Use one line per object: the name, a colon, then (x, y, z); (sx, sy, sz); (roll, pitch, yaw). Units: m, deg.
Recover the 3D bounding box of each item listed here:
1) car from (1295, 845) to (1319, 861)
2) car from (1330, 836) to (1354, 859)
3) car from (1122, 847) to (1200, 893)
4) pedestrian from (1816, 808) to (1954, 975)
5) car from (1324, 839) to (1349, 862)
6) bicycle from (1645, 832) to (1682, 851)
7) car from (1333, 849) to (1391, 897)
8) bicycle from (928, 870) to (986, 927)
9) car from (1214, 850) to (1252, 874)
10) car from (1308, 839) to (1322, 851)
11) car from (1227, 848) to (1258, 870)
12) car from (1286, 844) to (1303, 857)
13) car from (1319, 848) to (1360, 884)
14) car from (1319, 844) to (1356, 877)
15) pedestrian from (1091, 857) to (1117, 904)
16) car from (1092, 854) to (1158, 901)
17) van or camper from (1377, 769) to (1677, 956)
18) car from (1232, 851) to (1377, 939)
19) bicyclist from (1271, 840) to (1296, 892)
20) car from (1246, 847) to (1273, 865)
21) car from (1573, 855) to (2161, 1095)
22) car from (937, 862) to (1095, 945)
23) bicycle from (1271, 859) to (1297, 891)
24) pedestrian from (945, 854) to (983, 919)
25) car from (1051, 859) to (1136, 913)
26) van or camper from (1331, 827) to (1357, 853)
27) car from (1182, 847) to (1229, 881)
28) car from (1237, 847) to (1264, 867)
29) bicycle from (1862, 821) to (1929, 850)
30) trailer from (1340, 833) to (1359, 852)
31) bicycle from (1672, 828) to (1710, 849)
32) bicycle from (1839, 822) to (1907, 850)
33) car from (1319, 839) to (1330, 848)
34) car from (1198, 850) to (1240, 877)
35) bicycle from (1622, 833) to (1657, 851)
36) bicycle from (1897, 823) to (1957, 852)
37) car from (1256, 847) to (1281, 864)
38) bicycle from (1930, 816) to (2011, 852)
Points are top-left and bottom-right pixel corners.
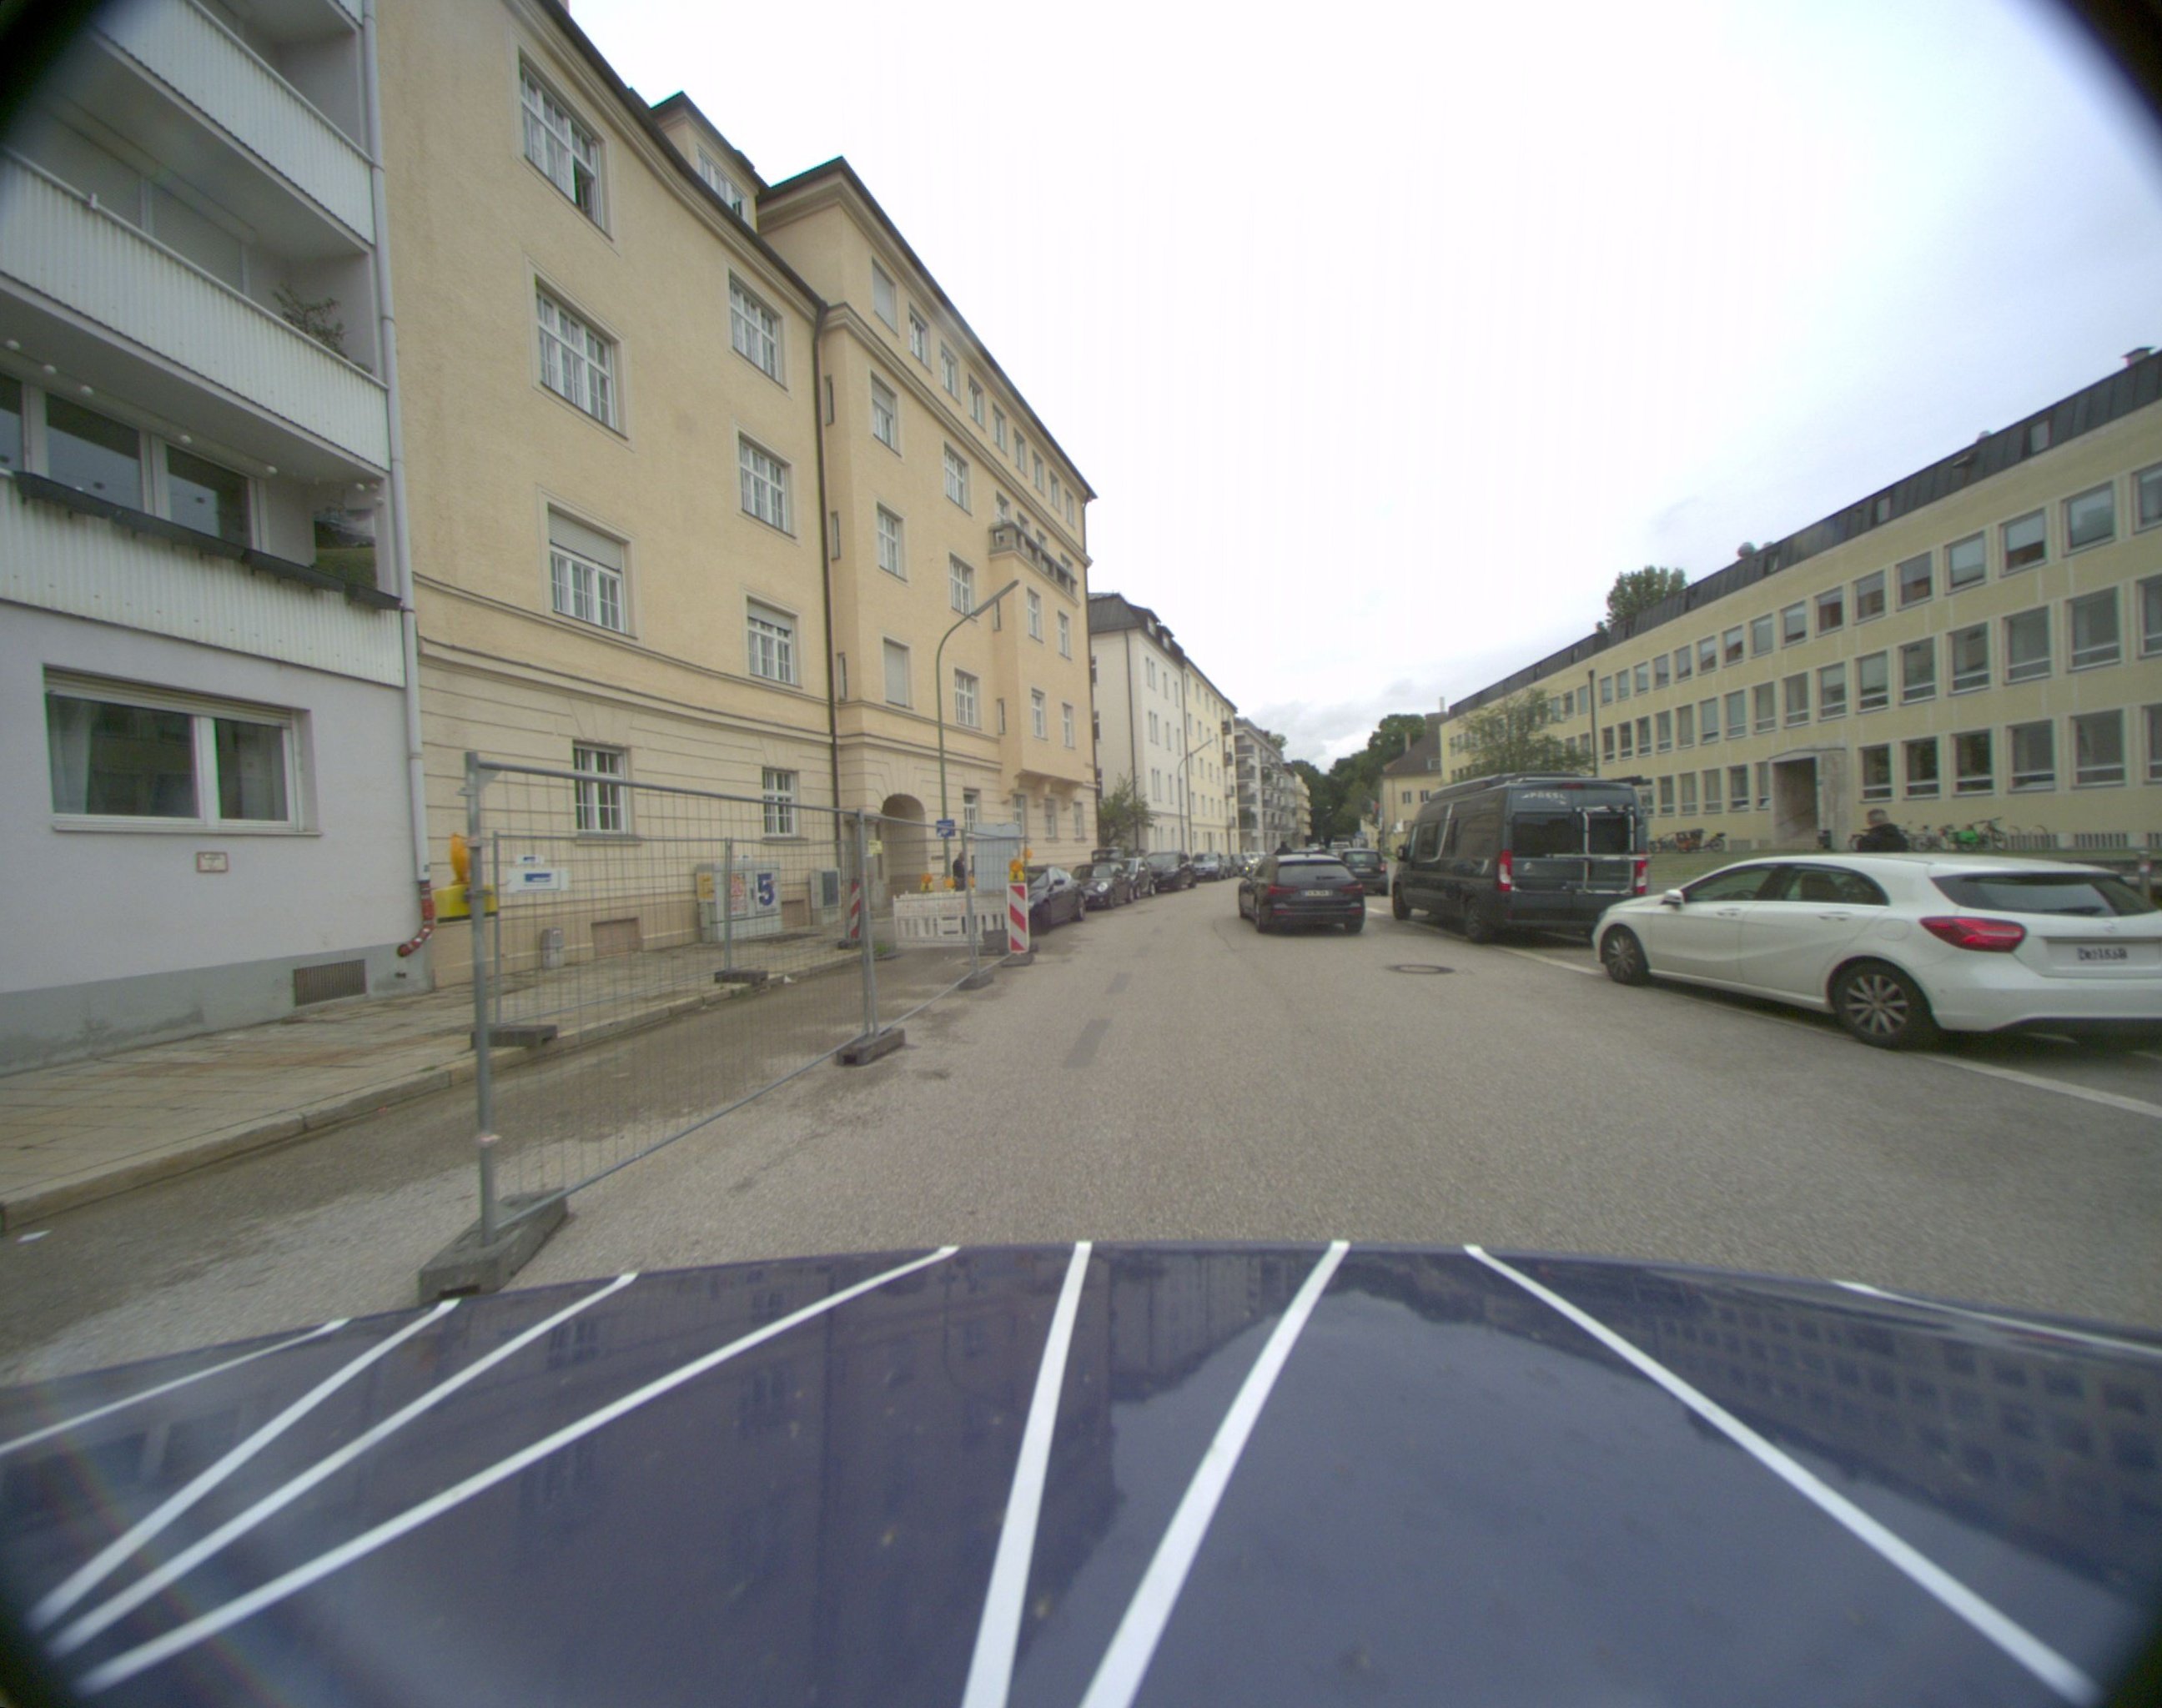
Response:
car: (23.327, -0.121, 78.429); (1.996, 1.521, 4.006); (-4, -1, 20)
car: (23.411, -0.618, 68.317); (1.917, 1.948, 4.968); (-1, 0, 18)
car: (3.655, 0.663, 33.617); (2.172, 1.728, 5.030); (-4, 0, 20)
pedestrian: (9.583, 0.428, 9.077); (0.845, 1.855, 0.713); (-4, 0, -8)
car: (19.749, -0.264, 58.580); (1.716, 1.680, 4.146); (-1, 1, 20)
bicycle: (32.604, -0.720, 42.552); (1.608, 0.939, 0.503); (-5, 0, 1)
car: (9.203, 0.588, 25.063); (1.521, 1.457, 2.890); (-1, 1, 15)
bicycle: (-3.028, 1.065, 18.744); (0.637, 1.251, 1.673); (-3, 0, 19)
car: (10.605, 0.531, 52.722); (1.878, 1.441, 4.684); (-4, 0, 19)
car: (41.081, -1.618, 133.208); (1.856, 2.019, 4.790); (-4, 0, 21)
car: (12.282, 0.353, 57.558); (1.726, 1.441, 4.193); (-4, 0, 18)
car: (27.626, -0.457, 98.218); (1.773, 1.467, 4.223); (-3, 0, 18)
car: (11.538, 0.519, 33.998); (1.633, 1.486, 3.608); (-1, 1, 18)
car: (12.789, 0.276, 38.014); (1.633, 1.486, 4.280); (-1, 1, 18)
pedestrian: (0.781, 0.888, 25.733); (0.629, 1.519, 0.578); (-4, 0, 19)
car: (1.696, 0.843, 28.529); (1.515, 1.545, 3.023); (-4, 0, 21)
van or camper: (7.353, 0.106, 13.574); (2.302, 2.566, 6.088); (-1, 1, 6)
car: (4.216, 0.690, 15.106); (1.924, 1.404, 4.705); (-1, 1, 6)
bicyclist: (7.090, 0.415, 26.648); (0.746, 1.761, 0.815); (0, 0, 6)
car: (15.722, 0.142, 66.760); (1.727, 1.421, 4.299); (-4, 0, 19)
car: (6.753, 0.759, 6.831); (1.998, 1.442, 4.215); (-1, 0, 1)
car: (-1.280, 1.035, 17.557); (1.911, 1.469, 4.952); (-4, 0, 16)
bicycle: (7.091, 0.716, 26.585); (0.587, 1.063, 1.937); (-1, 0, 6)
pedestrian: (-3.094, 0.840, 20.144); (0.618, 1.681, 0.920); (1, 2, 20)
car: (0.484, 0.961, 23.861); (1.633, 1.409, 3.684); (-4, 0, 17)
van or camper: (27.910, -1.483, 80.390); (2.295, 2.636, 5.569); (-1, 1, 22)
car: (7.104, 0.531, 43.093); (1.849, 1.653, 4.504); (-4, 0, 19)
car: (13.953, 0.232, 62.425); (1.653, 1.534, 3.998); (-4, 0, 18)
bicycle: (31.072, -0.688, 28.990); (1.861, 0.939, 0.414); (-5, 0, 7)
trailer: (35.868, -1.573, 101.389); (1.977, 2.457, 4.583); (0, 2, 24)
bicycle: (32.260, -0.810, 40.191); (1.608, 0.939, 0.503); (-4, 0, -4)
bicycle: (31.005, -0.690, 29.761); (1.955, 0.939, 0.414); (-5, 0, 7)
car: (47.739, -1.998, 148.876); (1.769, 1.607, 4.269); (-3, 0, 20)
car: (8.710, 0.555, 47.609); (1.830, 1.441, 4.089); (-4, 0, 20)
bicycle: (32.934, -0.690, 44.801); (1.608, 0.939, 0.503); (-5, 0, 1)
bicycle: (30.820, -0.587, 27.701); (1.409, 0.939, 0.415); (-5, 0, 16)
car: (17.832, 0.078, 72.201); (1.775, 1.421, 4.621); (-4, 0, 19)
bicycle: (30.690, -0.681, 26.239); (1.849, 1.089, 0.702); (-5, 0, 3)
